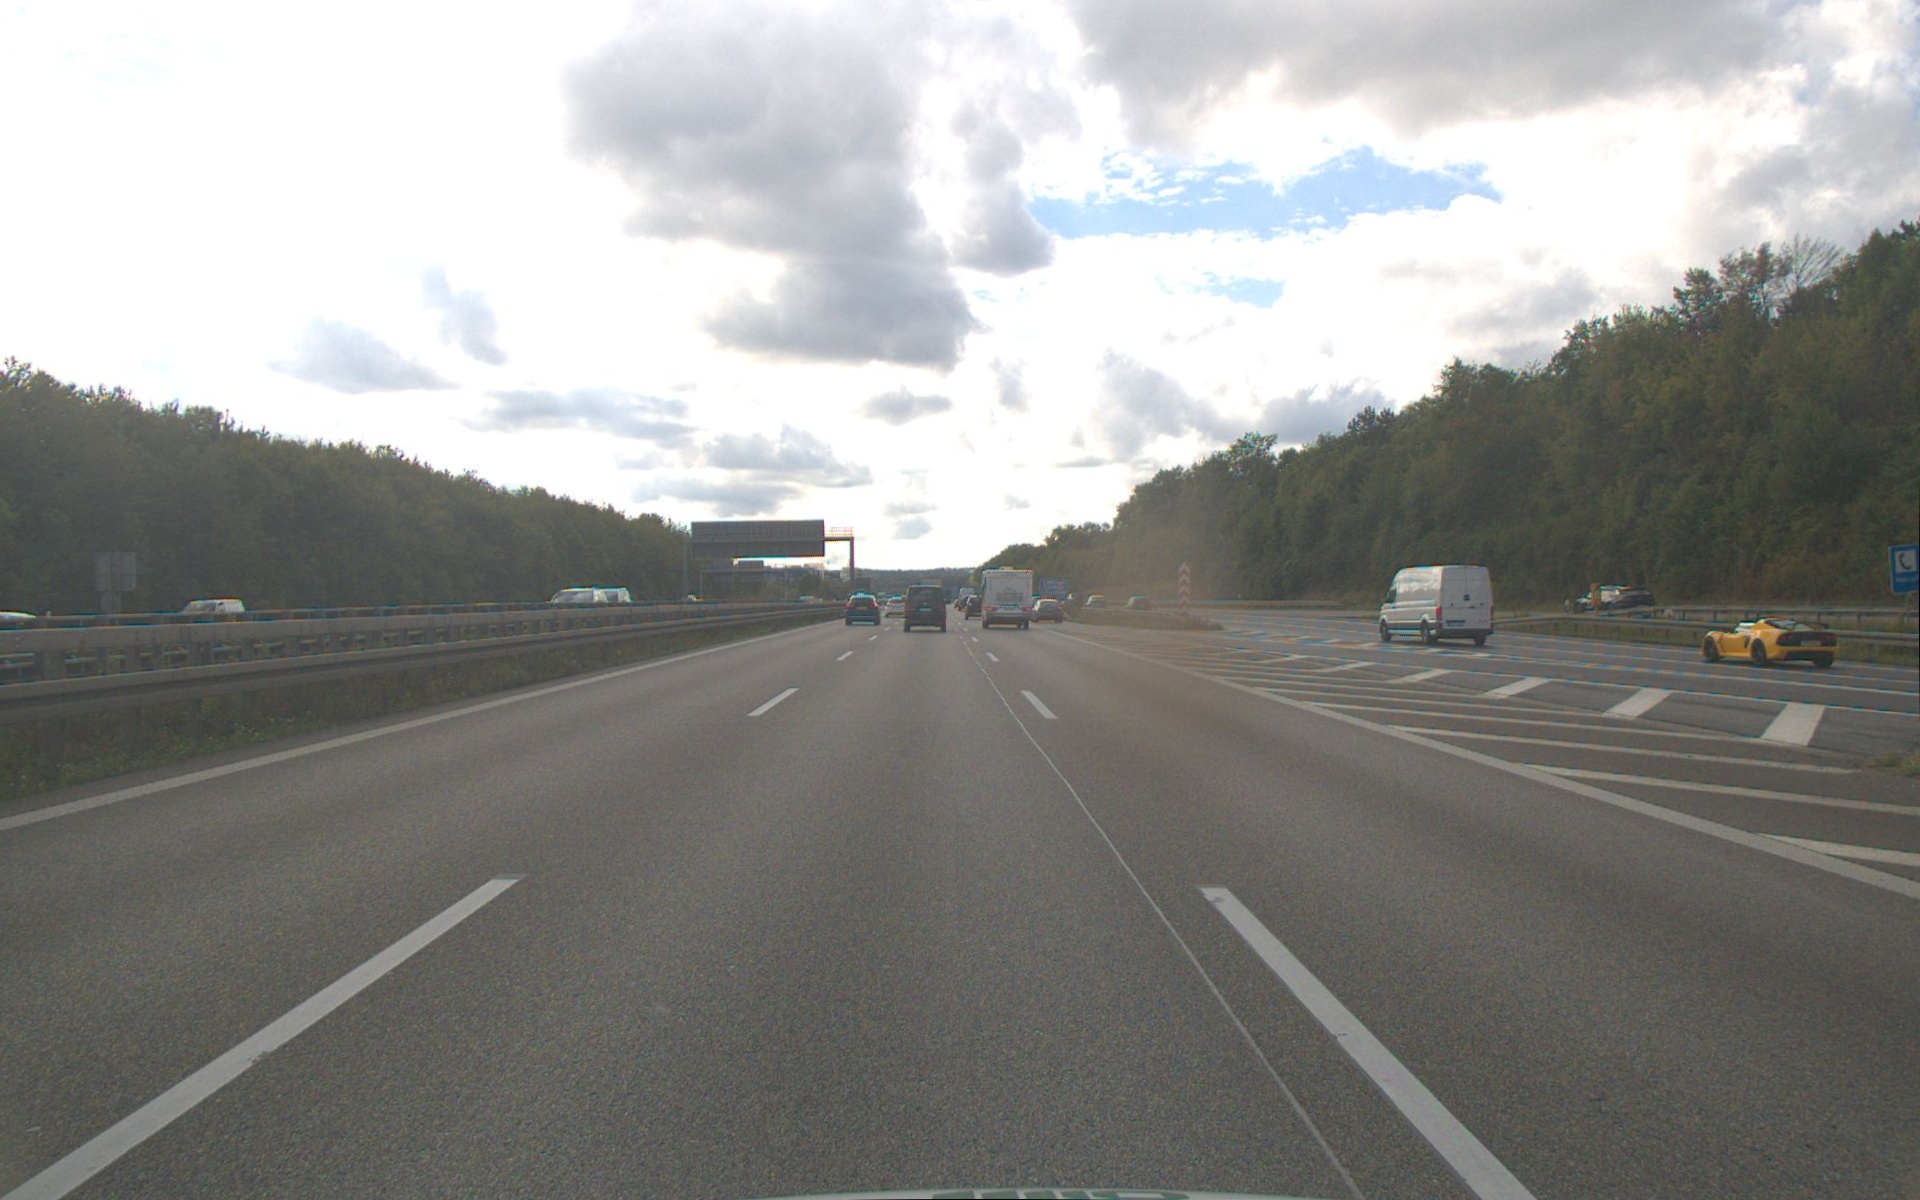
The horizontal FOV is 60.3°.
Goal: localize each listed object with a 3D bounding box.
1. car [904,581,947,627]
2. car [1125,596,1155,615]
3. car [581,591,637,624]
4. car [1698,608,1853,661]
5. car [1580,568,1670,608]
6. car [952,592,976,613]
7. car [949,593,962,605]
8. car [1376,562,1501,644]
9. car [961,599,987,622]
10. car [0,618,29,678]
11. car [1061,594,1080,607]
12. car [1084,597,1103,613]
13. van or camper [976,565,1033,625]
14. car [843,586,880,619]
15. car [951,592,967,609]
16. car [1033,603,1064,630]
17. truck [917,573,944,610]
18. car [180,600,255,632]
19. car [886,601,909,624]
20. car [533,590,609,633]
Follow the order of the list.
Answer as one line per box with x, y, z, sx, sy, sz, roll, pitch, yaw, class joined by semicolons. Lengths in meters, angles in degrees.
-1.525;0.160;72.572;1.817;1.944;4.258;0;0;-2;car
14.553;0.429;134.240;1.806;1.510;4.524;-2;0;-1;car
-18.176;0.375;85.816;1.773;1.665;5.008;0;0;0;car
19.992;0.827;40.743;1.677;1.202;4.167;0;0;-2;car
28.901;-0.521;72.079;1.806;1.630;4.762;-2;0;-2;car
0.272;0.183;128.732;1.777;1.629;3.999;-1;0;-1;car
-0.668;-0.188;246.747;1.716;1.725;4.189;0;0;-2;car
16.277;0.091;56.685;2.028;2.599;6.739;-1;0;-3;car
0.959;0.758;117.290;1.663;1.592;4.112;0;0;-2;car
-20.833;1.010;33.828;1.493;1.241;3.874;0;0;-2;car
13.547;0.049;202.755;1.806;1.510;4.523;-2;0;-3;car
13.481;0.497;166.889;1.509;1.510;3.941;-2;0;-1;car
2.130;-0.243;81.698;2.419;2.769;7.659;1;0;-1;van or camper
-5.316;0.143;89.644;1.835;1.728;4.071;0;0;-2;car
-0.143;0.036;194.891;1.874;1.952;4.029;0;0;-2;car
5.554;1.020;104.226;1.663;1.639;3.894;0;0;-2;car
-3.643;-1.077;207.914;3.196;4.451;11.024;1;0;-1;truck
-38.621;0.814;86.151;1.735;1.604;5.010;-1;0;-2;car
-4.688;0.929;124.242;1.663;1.639;4.112;0;0;-2;car
-13.880;0.397;59.164;1.699;1.506;4.201;0;0;0;car
